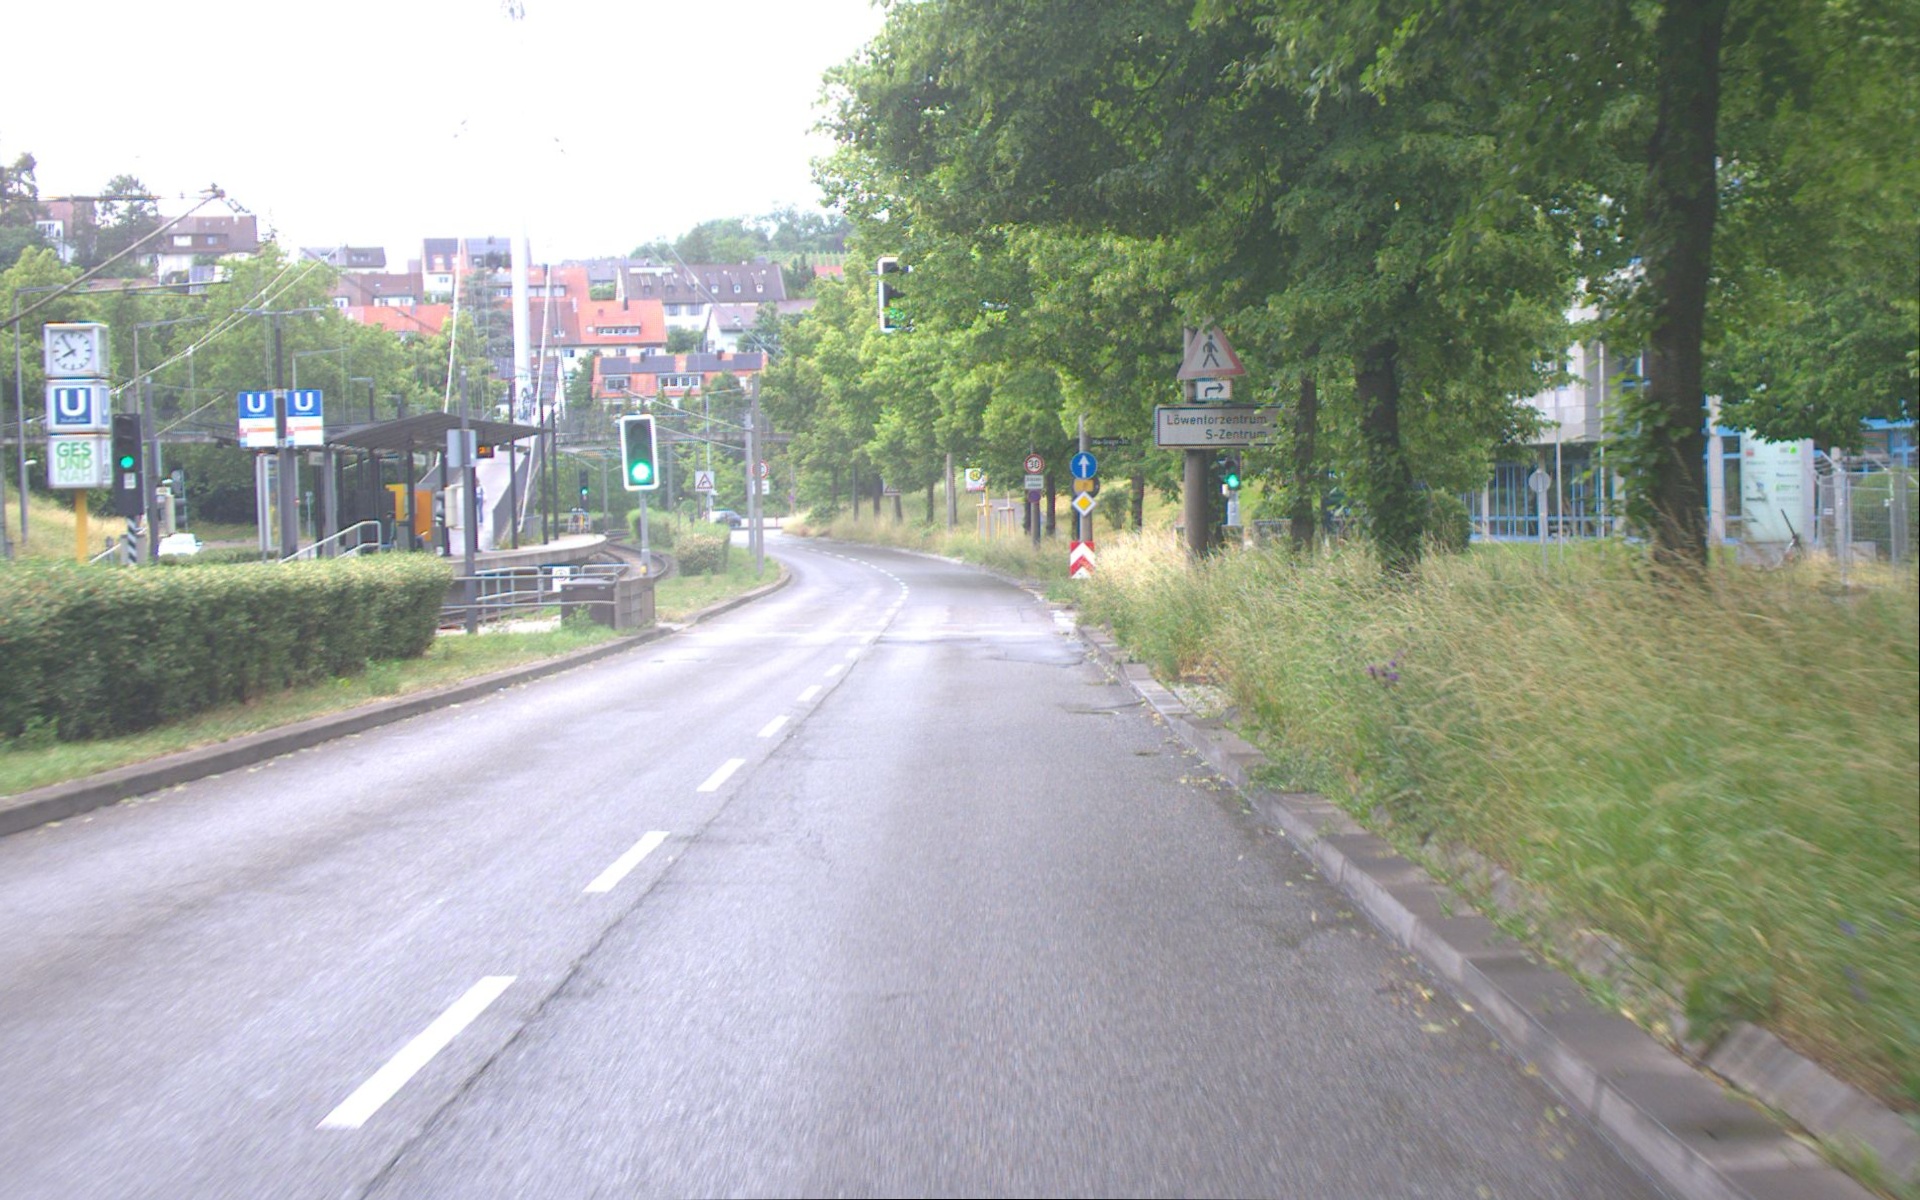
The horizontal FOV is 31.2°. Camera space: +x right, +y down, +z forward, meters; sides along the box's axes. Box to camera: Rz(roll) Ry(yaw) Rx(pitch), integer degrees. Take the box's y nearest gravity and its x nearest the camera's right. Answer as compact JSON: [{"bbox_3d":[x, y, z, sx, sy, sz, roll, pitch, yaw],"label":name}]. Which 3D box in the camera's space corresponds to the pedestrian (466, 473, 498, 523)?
[{"bbox_3d":[-15.469,-3.307,111.259,0.935,1.605,1.027,-1,1,-4],"label":"pedestrian"}]

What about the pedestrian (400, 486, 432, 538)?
[{"bbox_3d":[-14.097,-2.278,89.092,0.752,1.351,0.692,-1,1,-3],"label":"pedestrian"}]
